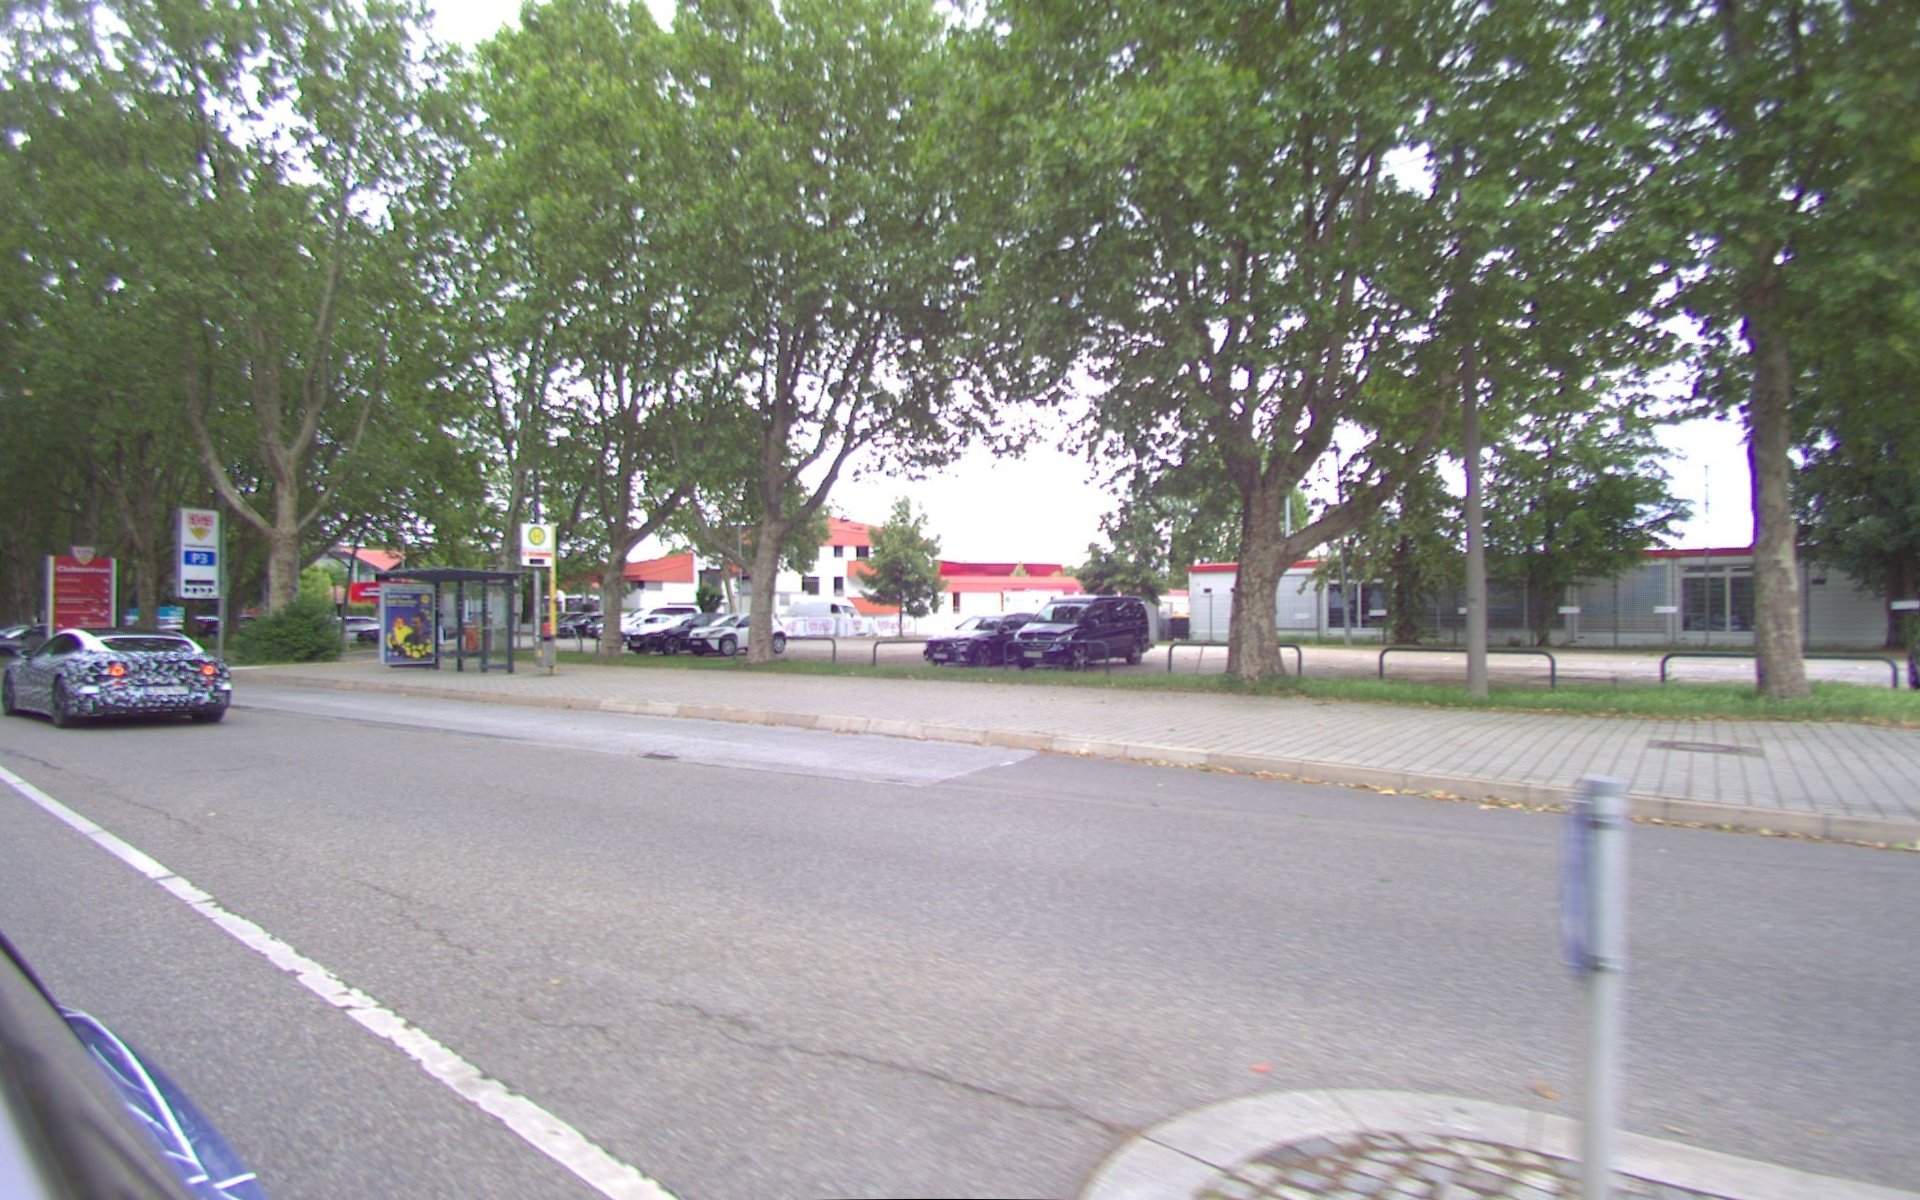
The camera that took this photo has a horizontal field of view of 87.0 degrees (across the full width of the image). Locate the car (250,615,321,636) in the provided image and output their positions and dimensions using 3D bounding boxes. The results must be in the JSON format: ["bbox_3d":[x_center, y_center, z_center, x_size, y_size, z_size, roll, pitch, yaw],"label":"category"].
[{"bbox_3d":[-60.996,2.250,91.573,2.178,1.810,4.899,-1,0,35],"label":"car"}]

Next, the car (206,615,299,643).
[{"bbox_3d":[-46.408,1.880,66.445,2.292,1.738,4.510,-1,0,37],"label":"car"}]

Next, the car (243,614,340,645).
[{"bbox_3d":[-40.983,1.773,62.110,2.292,1.775,4.477,-1,0,37],"label":"car"}]

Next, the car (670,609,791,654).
[{"bbox_3d":[-8.313,1.103,36.885,1.999,1.534,3.949,-1,0,38],"label":"car"}]

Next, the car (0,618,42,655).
[{"bbox_3d":[-43.146,1.548,44.178,1.904,1.560,4.226,-1,-4,35],"label":"car"}]

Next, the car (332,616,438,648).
[{"bbox_3d":[-29.754,1.613,52.483,2.200,1.560,4.281,-1,0,37],"label":"car"}]

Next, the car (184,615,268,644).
[{"bbox_3d":[-50.519,1.968,69.719,2.025,1.875,4.281,-1,0,36],"label":"car"}]

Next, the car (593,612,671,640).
[{"bbox_3d":[-19.275,1.491,59.582,1.786,1.560,4.180,-1,0,36],"label":"car"}]

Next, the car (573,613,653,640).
[{"bbox_3d":[-20.941,1.562,61.198,1.956,1.560,4.281,-1,0,36],"label":"car"}]

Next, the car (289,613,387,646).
[{"bbox_3d":[-35.187,1.626,57.350,2.128,1.722,4.281,-1,0,36],"label":"car"}]

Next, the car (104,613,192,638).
[{"bbox_3d":[-62.851,1.924,78.403,2.178,1.810,4.899,-1,0,35],"label":"car"}]

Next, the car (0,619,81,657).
[{"bbox_3d":[-38.775,1.543,41.445,1.829,1.505,3.956,-1,0,37],"label":"car"}]

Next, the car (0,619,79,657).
[{"bbox_3d":[-37.116,1.476,39.452,1.911,1.395,3.952,-1,0,41],"label":"car"}]

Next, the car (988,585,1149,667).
[{"bbox_3d":[3.056,0.658,27.727,2.261,2.041,4.570,-1,0,40],"label":"car"}]

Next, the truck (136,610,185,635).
[{"bbox_3d":[-91.899,2.556,116.380,2.372,2.737,3.951,-1,0,36],"label":"truck"}]

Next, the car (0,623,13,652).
[{"bbox_3d":[-47.235,1.802,47.210,1.963,1.364,4.152,-1,0,35],"label":"car"}]

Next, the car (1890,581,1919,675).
[{"bbox_3d":[17.261,0.457,16.444,2.223,1.618,3.961,-1,-1,29],"label":"car"}]

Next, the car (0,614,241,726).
[{"bbox_3d":[-13.139,0.983,15.581,4.804,1.464,1.884,0,-2,36],"label":"car"}]

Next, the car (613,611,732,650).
[{"bbox_3d":[-10.772,1.109,38.161,1.998,1.334,3.950,-1,0,37],"label":"car"}]

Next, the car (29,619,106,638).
[{"bbox_3d":[-85.574,2.709,97.087,2.091,1.608,5.300,-1,0,36],"label":"car"}]

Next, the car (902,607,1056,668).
[{"bbox_3d":[0.631,1.003,29.419,2.107,1.579,4.579,0,0,40],"label":"car"}]

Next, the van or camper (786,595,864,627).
[{"bbox_3d":[-8.988,0.727,67.276,5.294,2.029,1.975,-1,0,37],"label":"van or camper"}]

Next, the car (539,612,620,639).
[{"bbox_3d":[-23.340,1.548,62.221,1.956,1.560,4.281,-1,0,36],"label":"car"}]

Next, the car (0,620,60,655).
[{"bbox_3d":[-40.802,1.582,42.735,1.859,1.416,3.950,-1,0,37],"label":"car"}]

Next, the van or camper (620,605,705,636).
[{"bbox_3d":[-17.139,1.167,58.424,2.128,1.722,4.281,-1,0,36],"label":"van or camper"}]

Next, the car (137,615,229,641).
[{"bbox_3d":[-56.615,2.016,73.801,2.178,1.810,4.899,-1,-2,35],"label":"car"}]

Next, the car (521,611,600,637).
[{"bbox_3d":[-25.125,1.496,63.707,1.956,1.560,4.281,-1,0,36],"label":"car"}]

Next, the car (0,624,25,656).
[{"bbox_3d":[-45.186,1.833,45.814,1.882,1.415,3.951,-1,0,36],"label":"car"}]

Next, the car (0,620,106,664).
[{"bbox_3d":[-35.018,1.552,38.230,1.803,1.552,3.954,-1,0,39],"label":"car"}]

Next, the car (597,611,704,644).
[{"bbox_3d":[-15.583,1.335,51.010,4.892,1.564,2.107,0,0,-25],"label":"car"}]
